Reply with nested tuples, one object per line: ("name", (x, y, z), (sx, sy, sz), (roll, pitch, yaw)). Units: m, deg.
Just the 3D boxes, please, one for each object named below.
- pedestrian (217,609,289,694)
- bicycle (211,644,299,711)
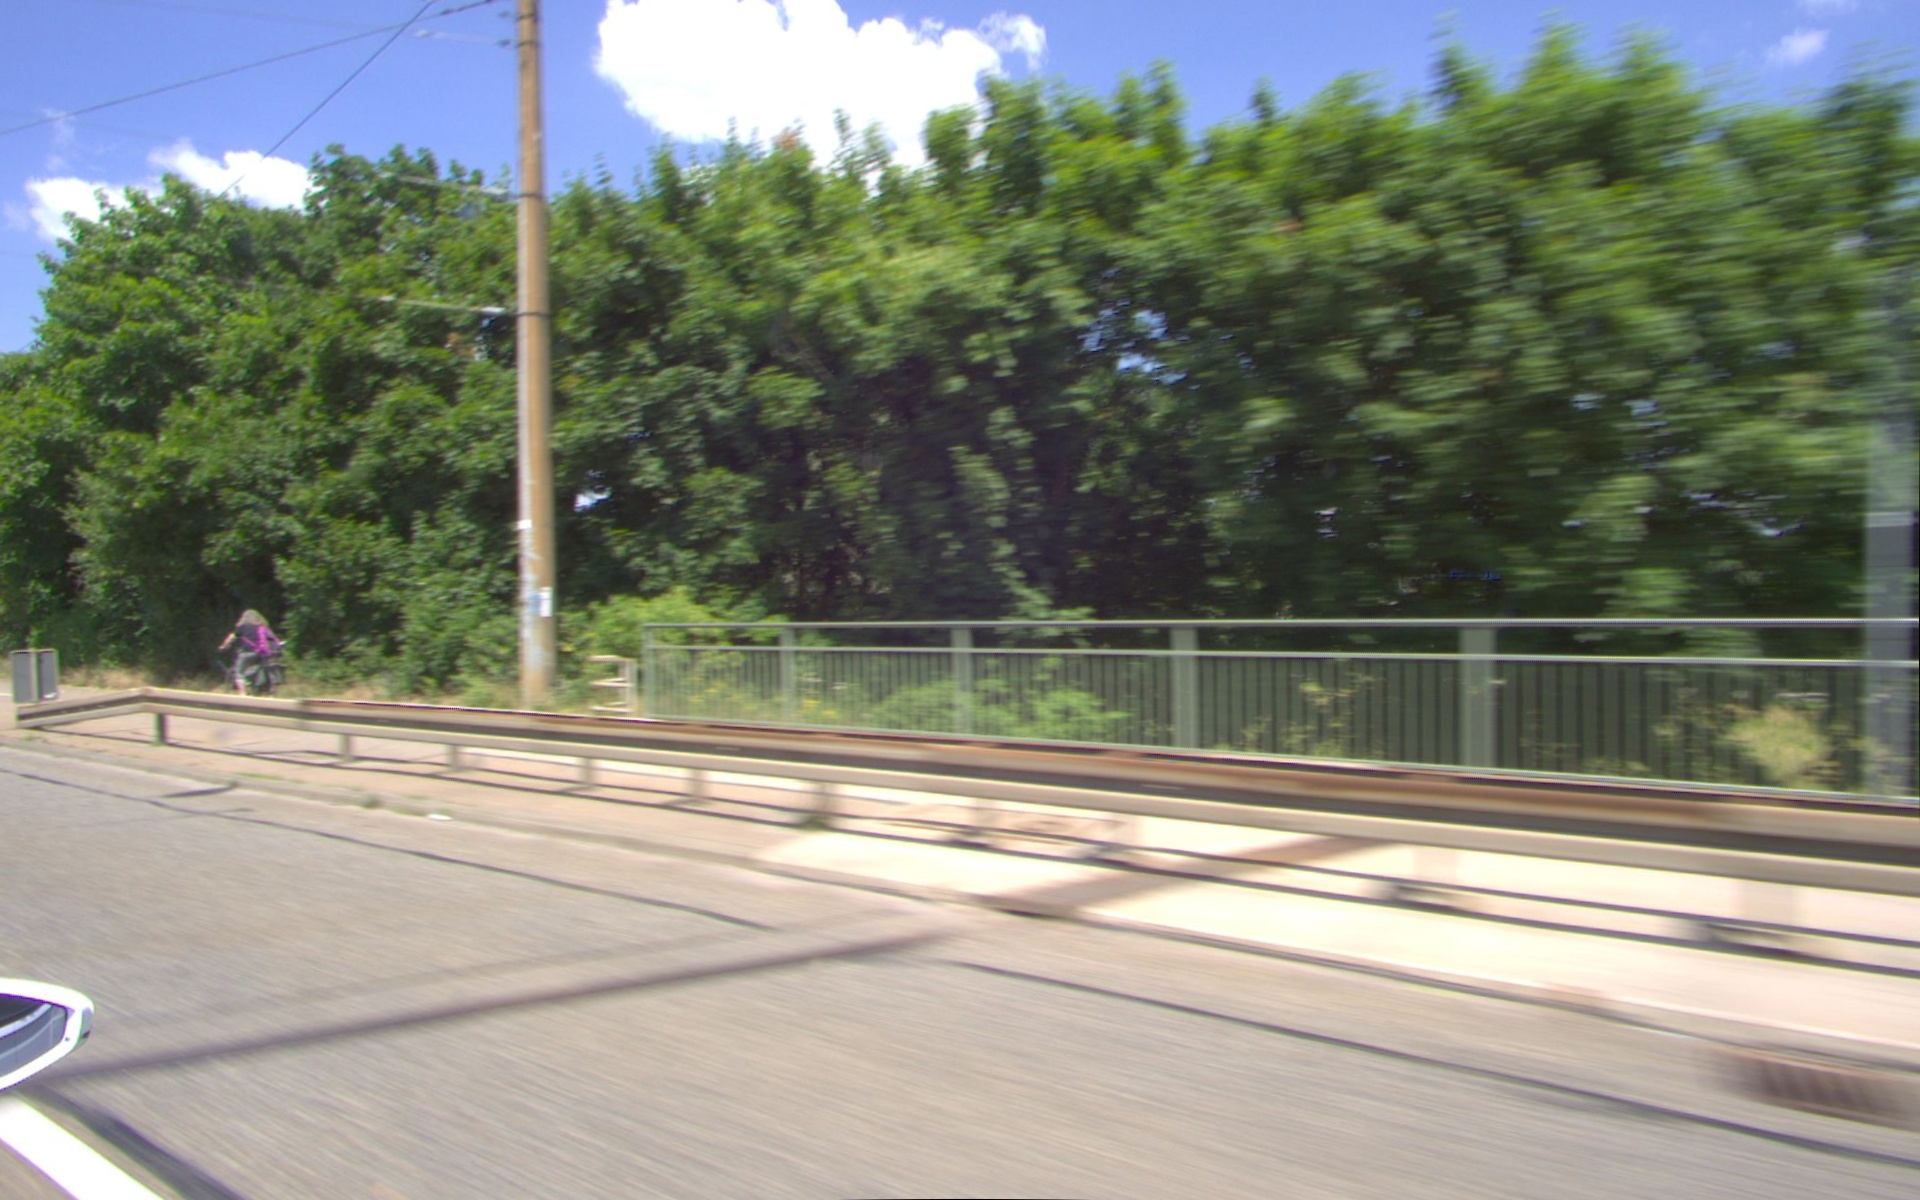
("pedestrian", (-11.927, 0.853, 16.898), (1.035, 1.392, 0.626), (-1, 0, 32))
("bicycle", (-11.912, 1.285, 16.898), (1.821, 1.038, 0.558), (-1, 0, 32))
